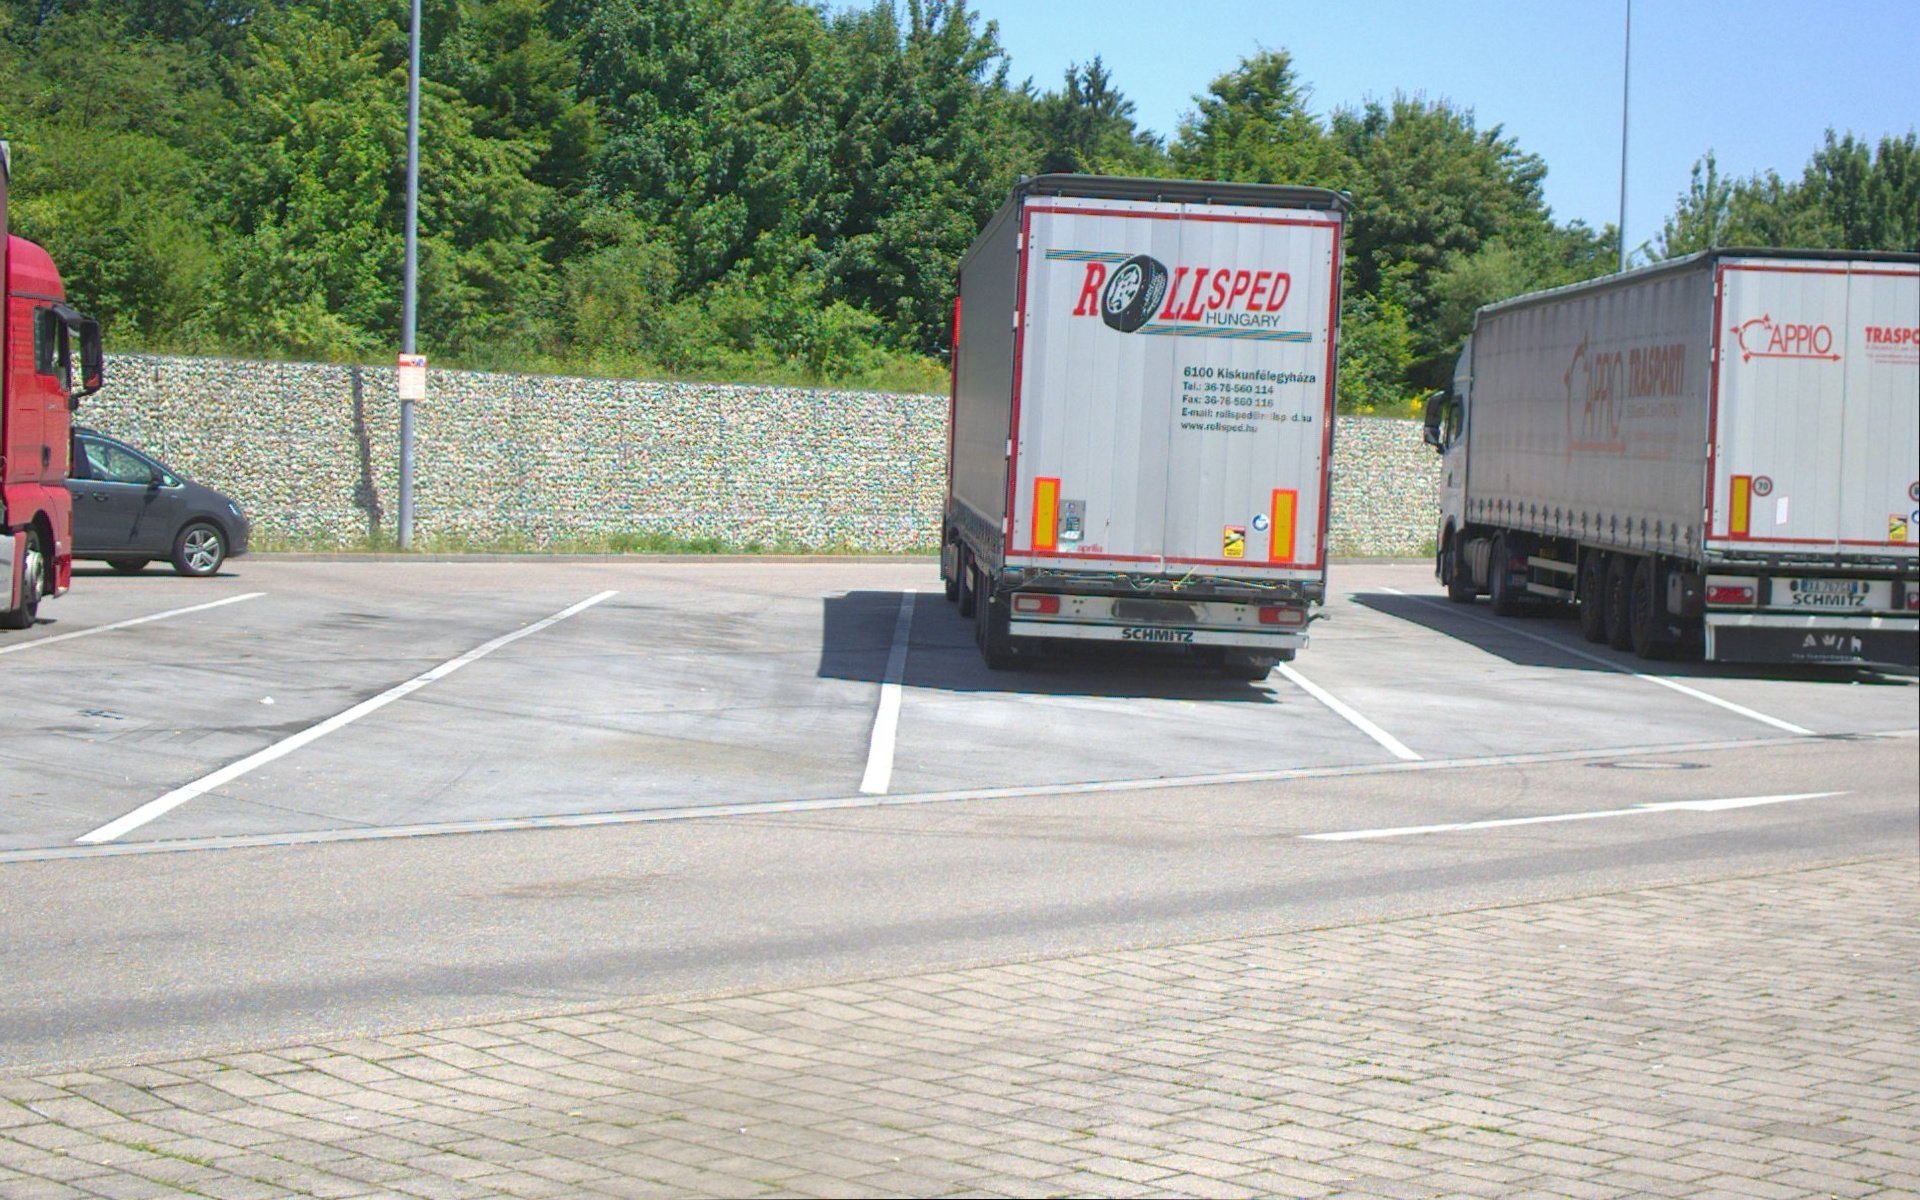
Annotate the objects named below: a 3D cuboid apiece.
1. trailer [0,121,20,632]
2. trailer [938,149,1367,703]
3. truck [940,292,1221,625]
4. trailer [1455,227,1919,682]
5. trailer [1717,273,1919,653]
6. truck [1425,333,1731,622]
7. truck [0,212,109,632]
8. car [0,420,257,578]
[{"bbox_3d":[-9.155,-1.510,21.301,2.906,4.118,13.725,2,3,-1],"label":"trailer"},{"bbox_3d":[1.430,-1.639,33.198,2.906,4.118,13.725,2,3,-1],"label":"trailer"},{"bbox_3d":[1.281,-1.651,39.811,2.852,3.472,5.483,2,3,-1],"label":"truck"},{"bbox_3d":[8.147,-1.642,38.688,2.838,4.118,13.724,2,3,-1],"label":"trailer"},{"bbox_3d":[11.783,-1.541,39.441,2.838,4.118,13.724,2,3,-1],"label":"trailer"},{"bbox_3d":[8.053,-1.644,45.501,2.852,3.472,5.483,2,3,-1],"label":"truck"},{"bbox_3d":[-9.246,-1.530,28.740,2.852,3.416,5.483,2,3,-1],"label":"truck"},{"bbox_3d":[-10.533,-1.179,39.394,4.499,1.702,1.786,0,4,-42],"label":"car"}]
